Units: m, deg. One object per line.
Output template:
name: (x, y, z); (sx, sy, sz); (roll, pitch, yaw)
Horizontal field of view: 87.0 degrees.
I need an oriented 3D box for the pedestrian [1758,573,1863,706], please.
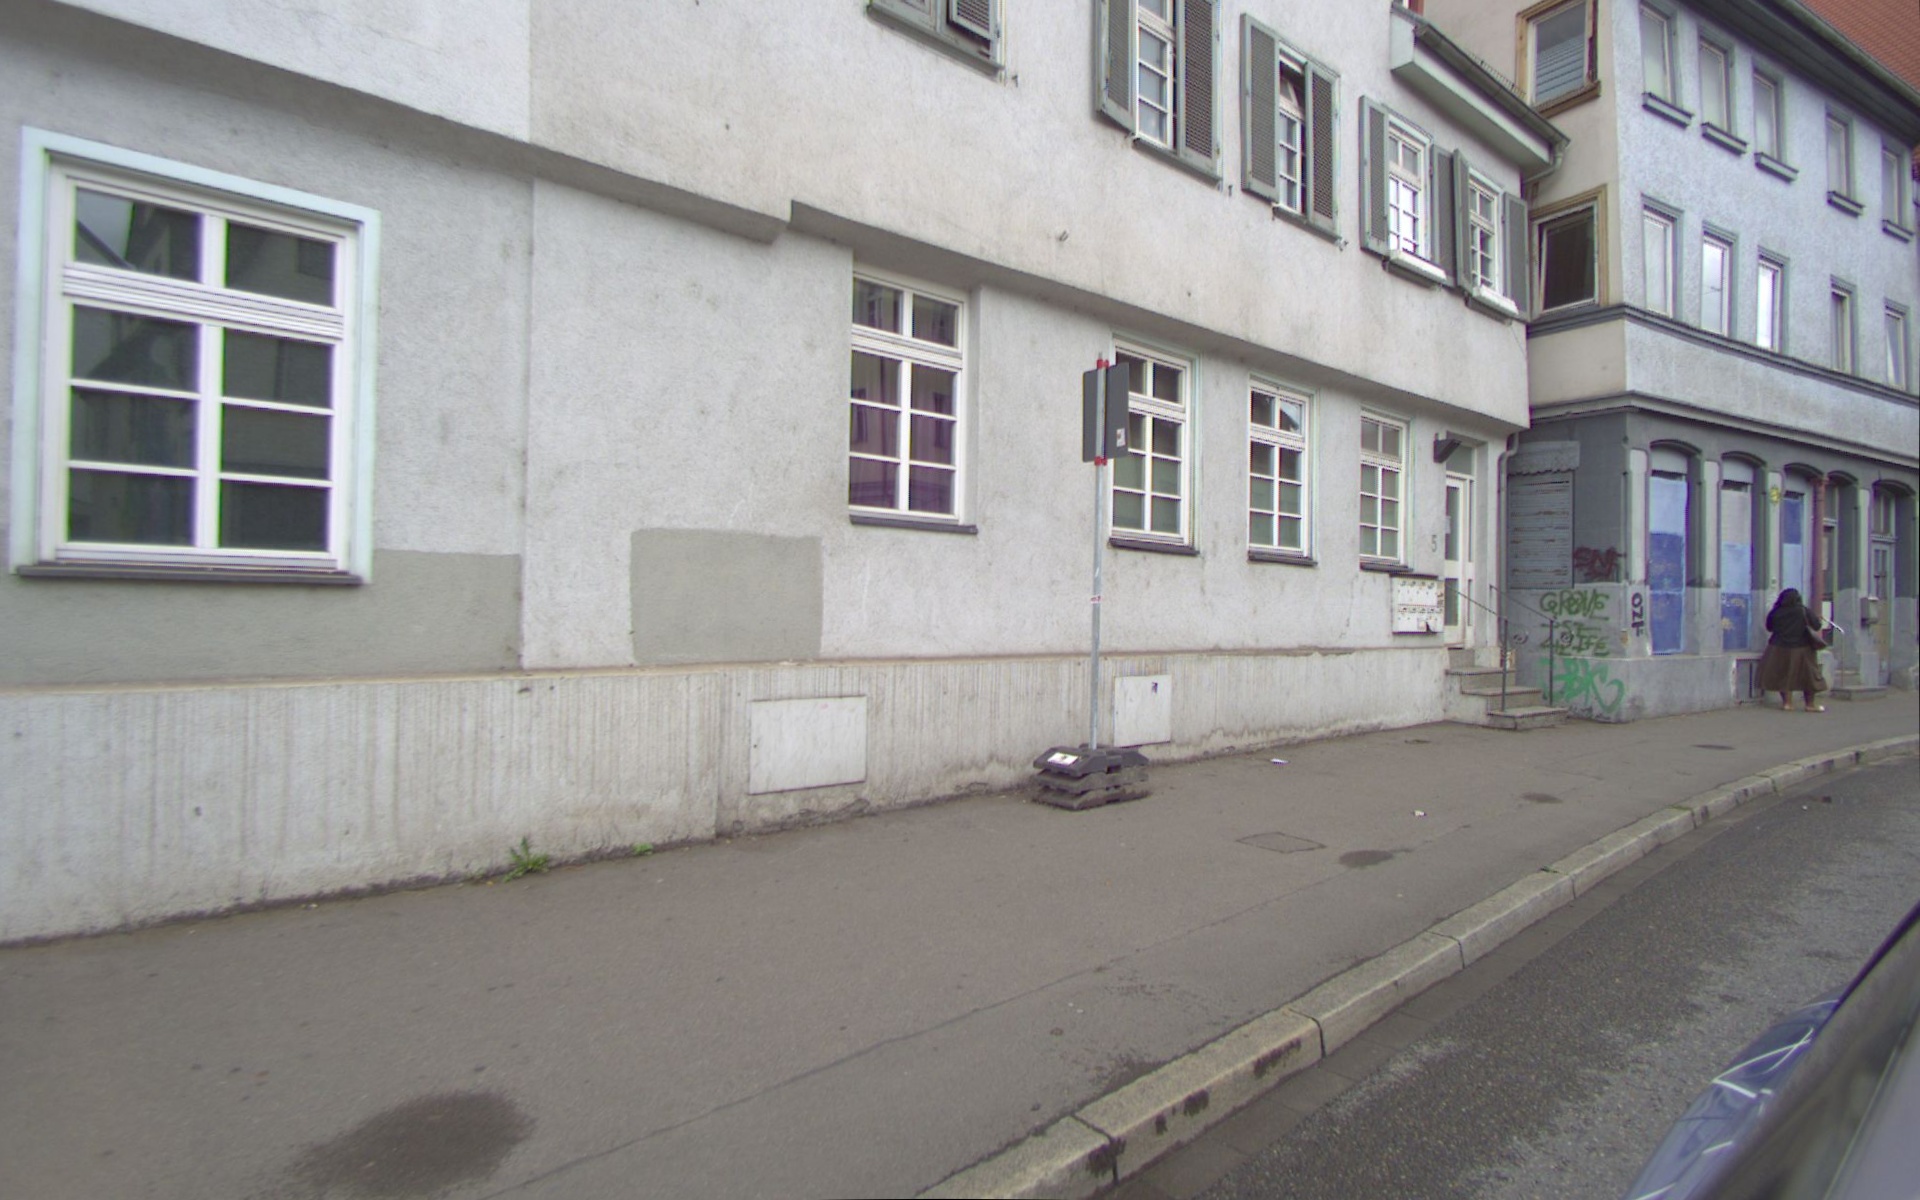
pedestrian: (11.368, 0.505, 13.537); (0.792, 1.688, 0.759); (2, 2, -28)
